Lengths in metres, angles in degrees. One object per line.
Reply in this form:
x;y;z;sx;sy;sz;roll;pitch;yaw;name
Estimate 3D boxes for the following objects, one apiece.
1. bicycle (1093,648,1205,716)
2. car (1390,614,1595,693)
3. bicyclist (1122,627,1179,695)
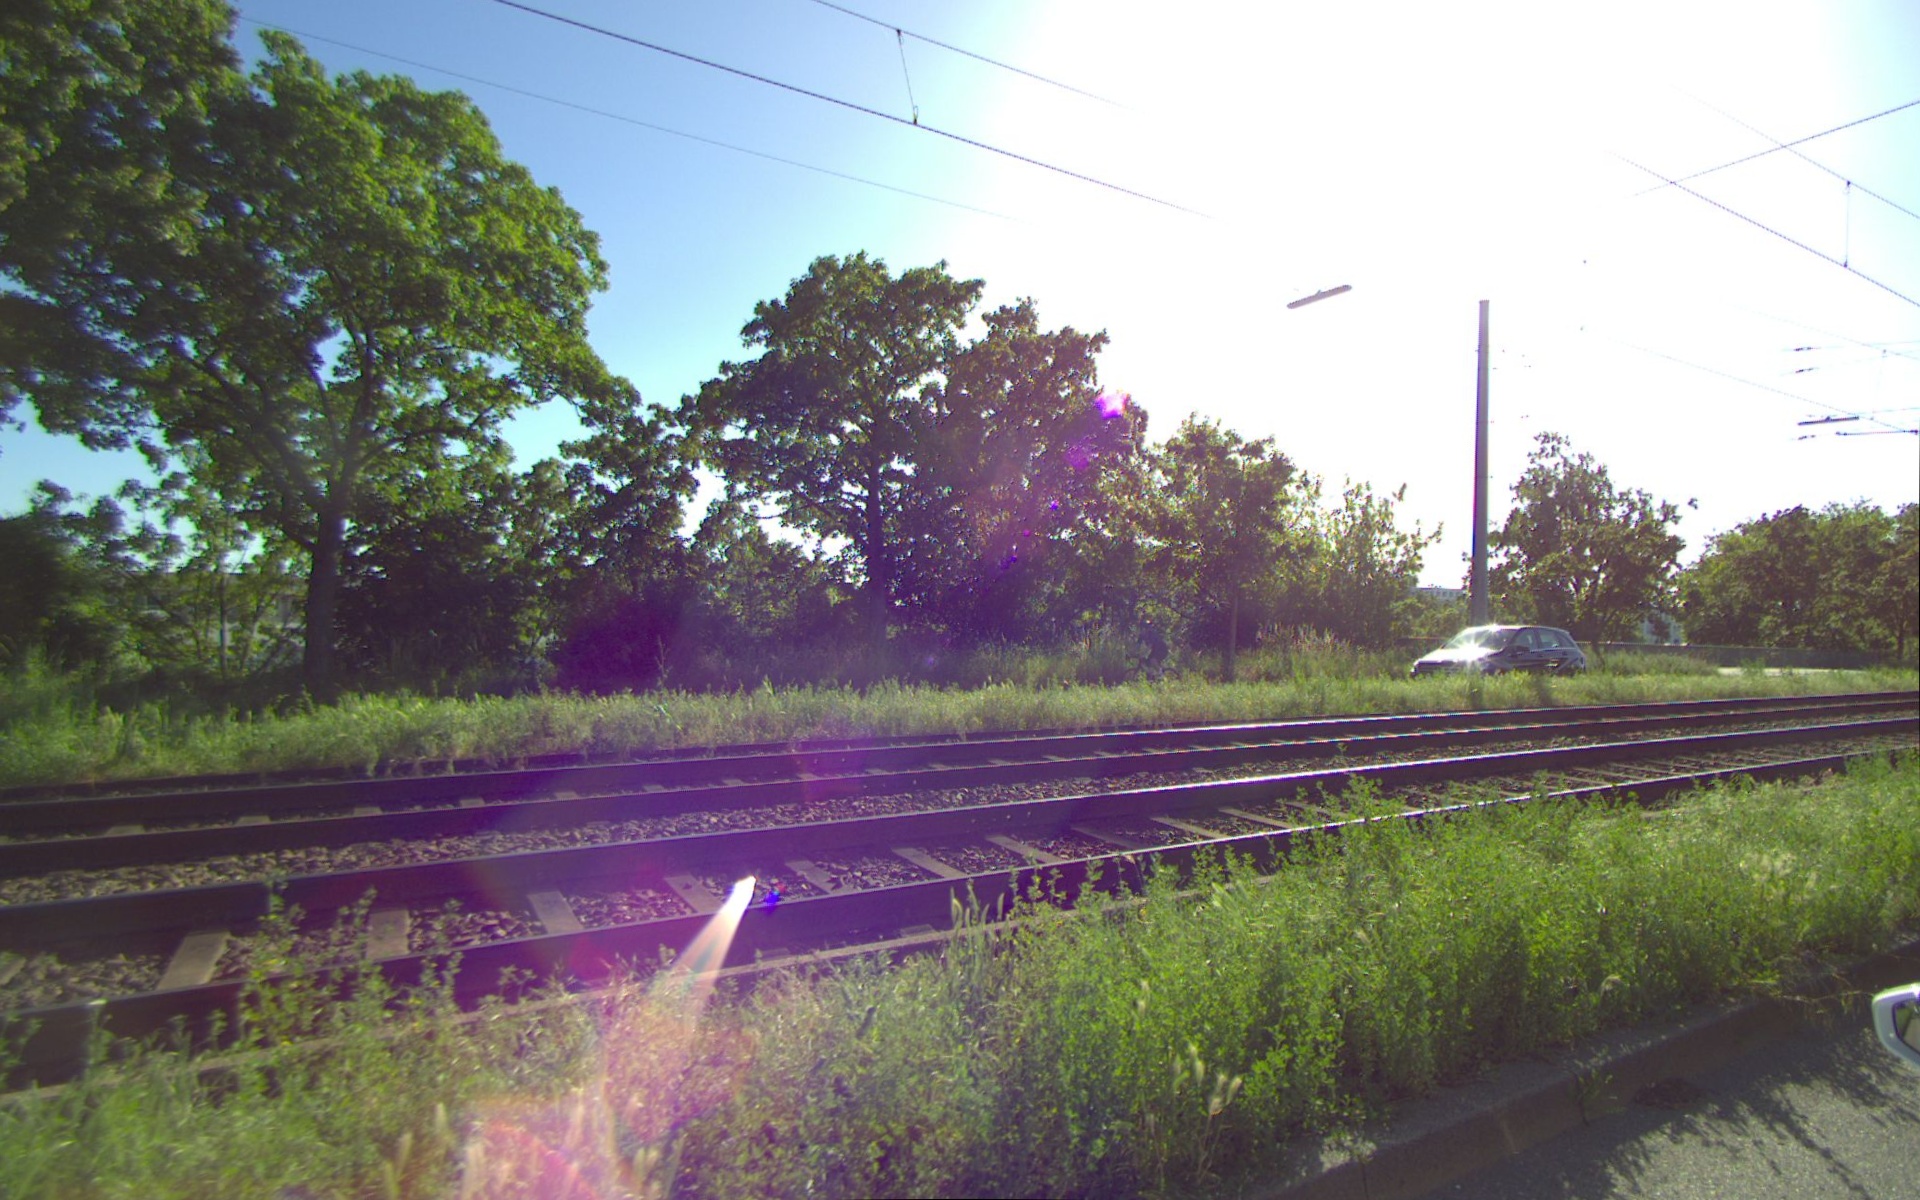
3.849;1.636;20.357;2.398;1.278;0.587;1;0;-30;bicycle
11.371;1.088;21.393;4.353;1.508;1.801;1;0;-29;car
3.859;1.229;20.359;0.975;1.328;0.580;1;0;-30;bicyclist
